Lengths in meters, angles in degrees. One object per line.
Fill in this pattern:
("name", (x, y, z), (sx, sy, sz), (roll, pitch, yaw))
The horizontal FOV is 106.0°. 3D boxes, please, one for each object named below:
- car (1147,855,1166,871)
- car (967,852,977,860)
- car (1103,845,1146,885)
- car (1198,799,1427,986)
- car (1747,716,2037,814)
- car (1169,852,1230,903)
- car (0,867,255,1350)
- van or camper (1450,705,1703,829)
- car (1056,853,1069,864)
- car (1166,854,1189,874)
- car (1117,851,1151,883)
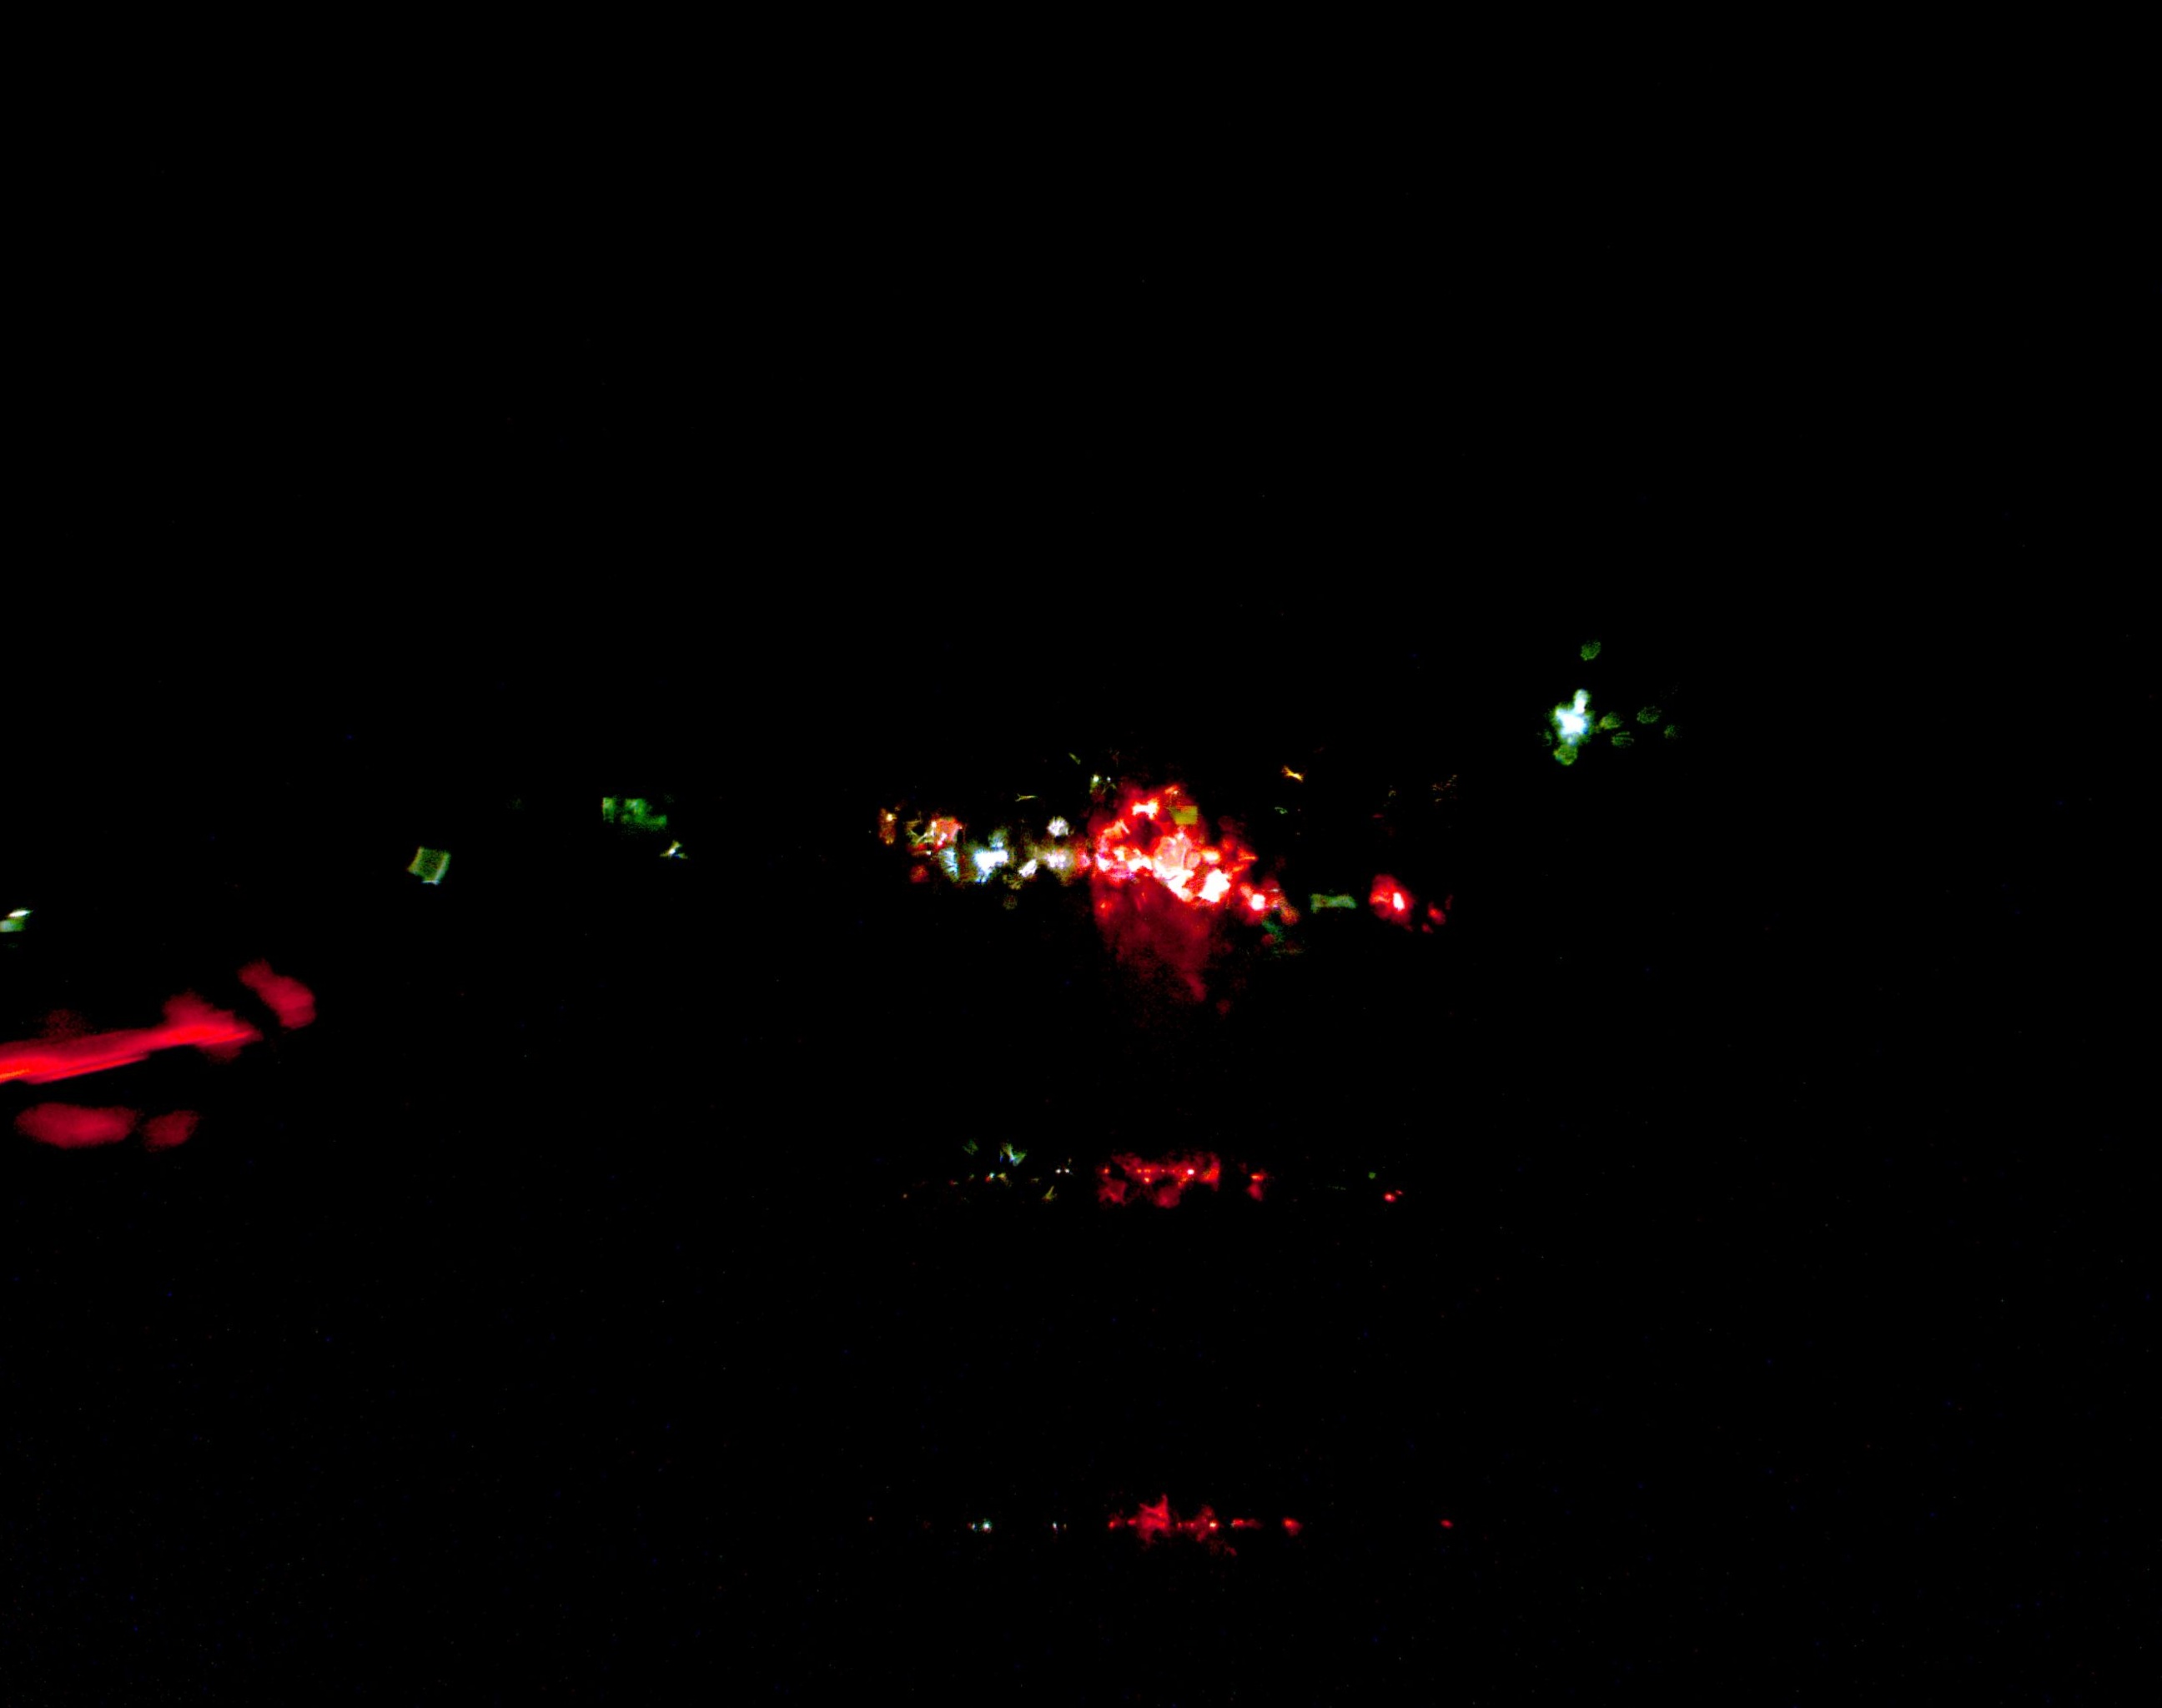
("car", (7.062, 0.841, 76.163), (1.655, 1.450, 4.055), (-1, -1, 5))
("car", (-25.947, 0.485, 194.122), (1.991, 1.912, 4.733), (-1, 0, -6))
("car", (1.909, 0.468, 34.835), (1.686, 1.630, 3.858), (0, 0, 5))
("car", (2.768, 0.394, 10.776), (1.935, 1.972, 4.220), (-1, 0, 2))
("car", (16.818, -1.747, 17.206), (1.637, 1.618, 4.117), (-1, 0, -13))
("car", (3.809, 0.697, 26.064), (1.758, 1.450, 4.228), (-1, 0, 9))
("car", (-4.097, 0.787, 1.040), (1.689, 1.434, 4.293), (0, 0, 0))
("van or camper", (14.087, -2.304, 23.864), (2.584, 2.908, 6.328), (-1, 0, -14))
("car", (-2.868, 0.660, 123.596), (1.706, 1.499, 3.723), (-2, 0, -6))
("car", (7.467, 0.742, 62.815), (1.654, 1.450, 4.058), (-1, -1, 7))
("car", (2.993, 0.664, 45.288), (1.700, 1.638, 3.736), (-2, 0, 6))
